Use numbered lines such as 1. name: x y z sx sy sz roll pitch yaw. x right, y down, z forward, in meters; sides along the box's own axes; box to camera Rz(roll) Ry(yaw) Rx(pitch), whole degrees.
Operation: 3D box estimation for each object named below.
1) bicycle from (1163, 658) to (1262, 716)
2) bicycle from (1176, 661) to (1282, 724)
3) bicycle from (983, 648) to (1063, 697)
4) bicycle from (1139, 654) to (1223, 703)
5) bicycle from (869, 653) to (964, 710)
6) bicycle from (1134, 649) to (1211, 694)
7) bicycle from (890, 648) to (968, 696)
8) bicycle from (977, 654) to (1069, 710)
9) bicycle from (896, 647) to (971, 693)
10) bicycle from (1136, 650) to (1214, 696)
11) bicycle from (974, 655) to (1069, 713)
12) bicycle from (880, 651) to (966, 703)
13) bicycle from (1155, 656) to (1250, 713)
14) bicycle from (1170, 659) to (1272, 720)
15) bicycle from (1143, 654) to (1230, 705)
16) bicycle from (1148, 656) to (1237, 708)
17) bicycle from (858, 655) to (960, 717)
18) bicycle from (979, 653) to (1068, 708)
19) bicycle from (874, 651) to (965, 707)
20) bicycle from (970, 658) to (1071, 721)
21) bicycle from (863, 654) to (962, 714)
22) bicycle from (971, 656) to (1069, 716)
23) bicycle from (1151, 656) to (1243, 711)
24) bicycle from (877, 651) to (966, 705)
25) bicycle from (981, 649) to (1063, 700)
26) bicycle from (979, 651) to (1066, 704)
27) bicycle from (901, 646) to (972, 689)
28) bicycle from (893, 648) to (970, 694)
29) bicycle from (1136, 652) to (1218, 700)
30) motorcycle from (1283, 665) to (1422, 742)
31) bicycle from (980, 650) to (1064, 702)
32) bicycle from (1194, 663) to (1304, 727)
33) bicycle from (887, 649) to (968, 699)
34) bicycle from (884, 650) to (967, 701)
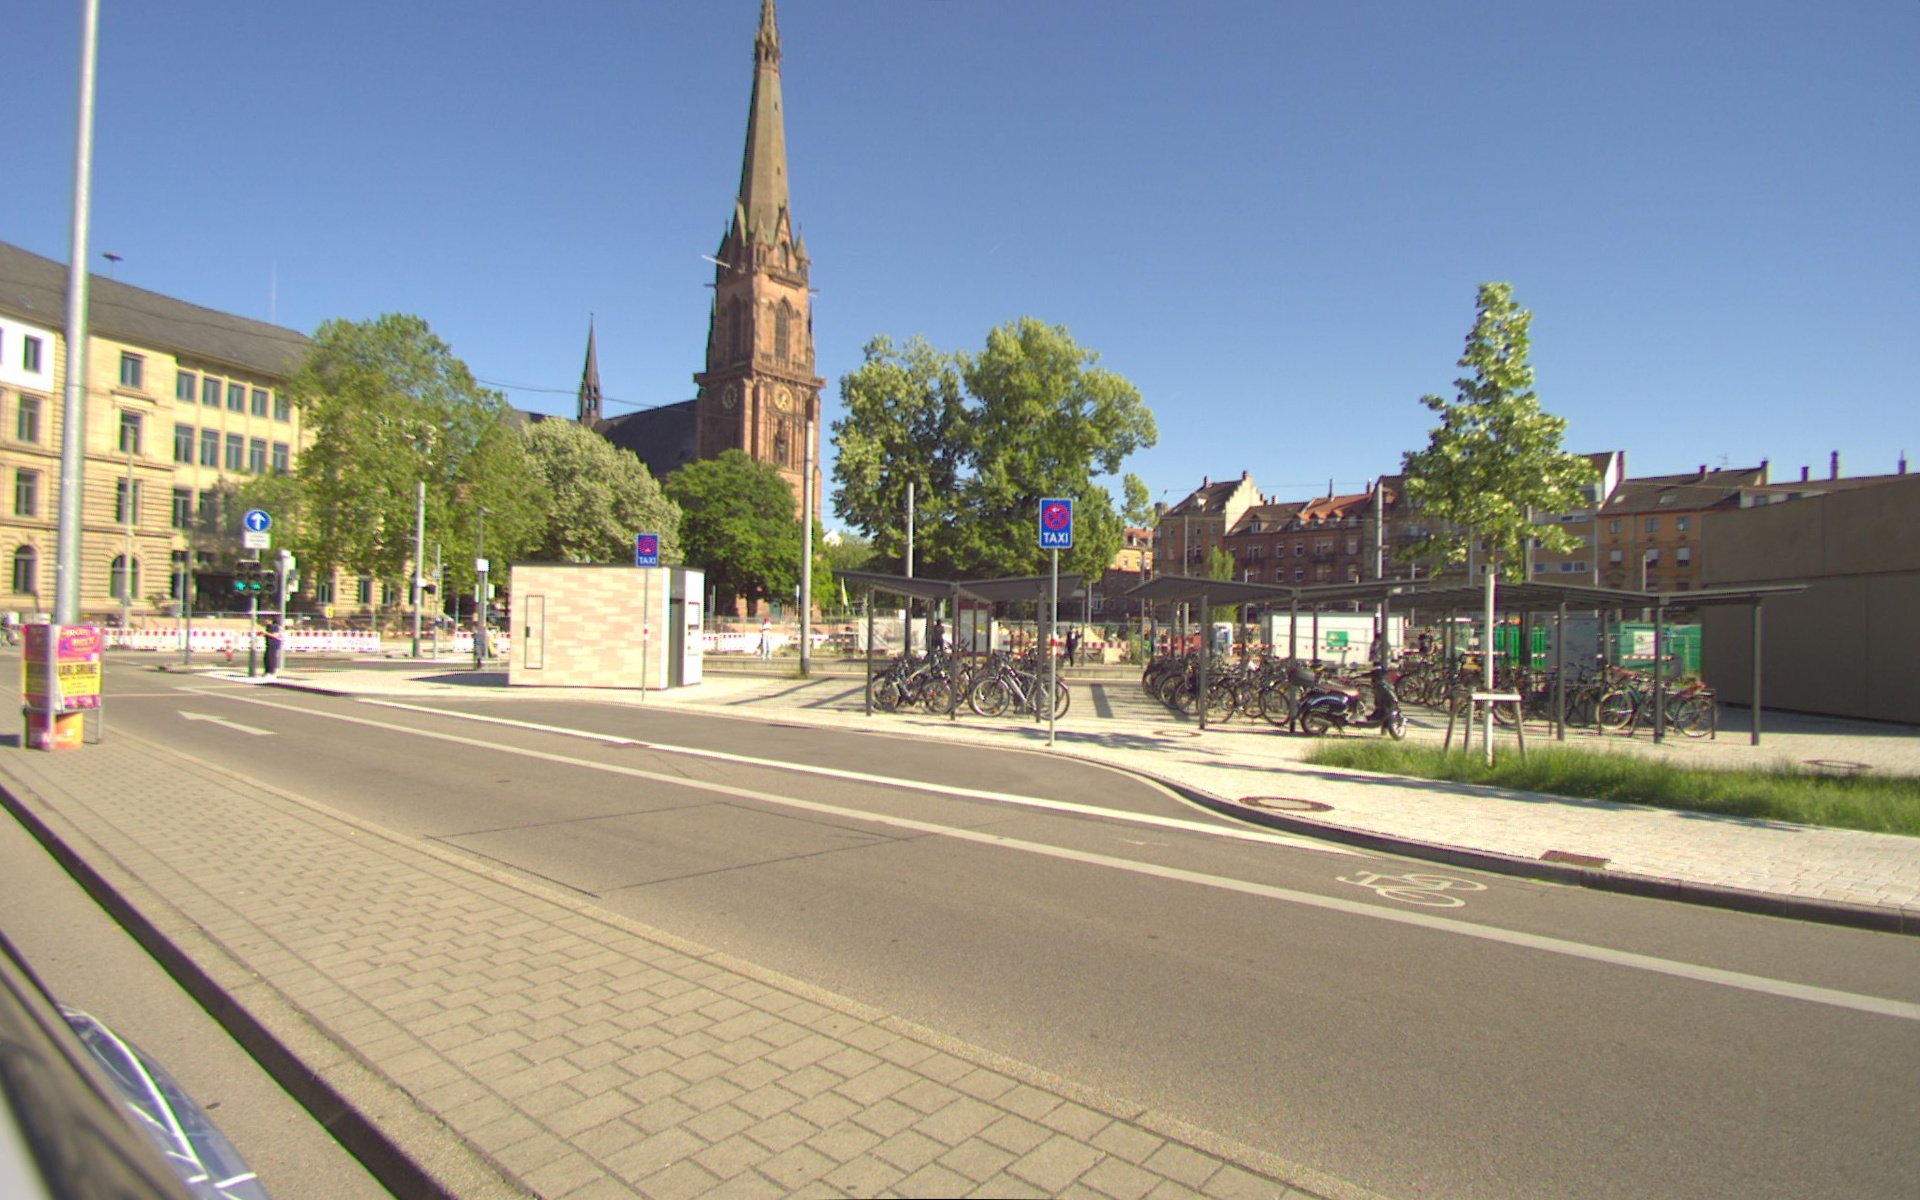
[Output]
1. bicycle: 4.878 1.684 19.634 1.765 1.046 0.567 1 -3 4
2. bicycle: 4.876 1.669 18.390 1.765 1.046 0.567 1 -3 4
3. bicycle: 1.426 1.645 23.069 1.765 1.046 0.567 1 -3 4
4. bicycle: 4.957 1.755 22.745 1.765 1.046 0.567 1 -3 4
5. bicycle: -0.839 1.574 19.679 1.765 1.046 0.567 1 -3 4
6. bicycle: 5.257 1.773 25.105 1.765 1.046 0.567 1 -3 4
7. bicycle: -0.710 1.672 23.491 1.765 1.046 0.567 1 -3 4
8. bicycle: 1.239 1.613 20.014 1.765 1.046 0.567 1 -3 4
9. bicycle: -0.633 1.691 24.685 1.765 1.046 0.567 1 -3 4
10. bicycle: 5.159 1.753 24.340 1.765 1.046 0.567 1 -3 4
11. bicycle: 1.176 1.601 19.405 1.765 1.046 0.567 1 -3 4
12. bicycle: -0.779 1.638 21.614 1.765 1.046 0.567 1 -3 4
13. bicycle: 4.843 1.681 20.265 1.765 1.046 0.567 1 -3 4
14. bicycle: 4.876 1.668 18.975 1.765 1.046 0.567 1 -3 4
15. bicycle: 4.939 1.733 22.151 1.765 1.046 0.567 1 -3 4
16. bicycle: 4.933 1.734 21.551 1.765 1.046 0.567 1 -3 4
17. bicycle: -0.909 1.540 18.273 1.765 1.046 0.567 1 -3 4
18. bicycle: 1.287 1.631 20.614 1.765 1.046 0.567 1 -3 4
19. bicycle: -0.802 1.586 20.367 1.765 1.046 0.567 1 -3 4
20. bicycle: 1.080 1.582 18.114 1.765 1.046 0.567 1 -3 4
21. bicycle: -0.873 1.554 18.924 1.765 1.046 0.567 1 -3 4
22. bicycle: 1.109 1.585 18.764 1.765 1.046 0.567 1 -3 4
23. bicycle: 4.894 1.717 20.937 1.765 1.046 0.567 1 -3 4
24. bicycle: -0.784 1.607 20.998 1.765 1.046 0.567 1 -3 4
25. bicycle: 1.364 1.647 22.469 1.765 1.046 0.567 1 -3 4
26. bicycle: 1.306 1.611 21.230 1.765 1.046 0.567 1 -3 4
27. bicycle: -0.595 1.724 25.938 1.765 1.046 0.567 1 -3 4
28. bicycle: -0.678 1.682 24.093 1.765 1.046 0.567 1 -3 4
29. bicycle: 5.050 1.760 23.615 1.765 1.046 0.567 1 -3 4
30. motorcycle: 6.210 1.628 16.083 1.962 1.128 0.593 0 -2 8
31. bicycle: 1.336 1.632 21.830 1.765 1.046 0.567 1 -3 4
32. bicycle: 5.062 1.659 17.793 1.765 1.046 0.567 1 -3 4
33. bicycle: -0.732 1.664 22.896 1.765 1.046 0.567 1 -3 4
34. bicycle: -0.751 1.651 22.230 1.765 1.046 0.567 1 -3 4
